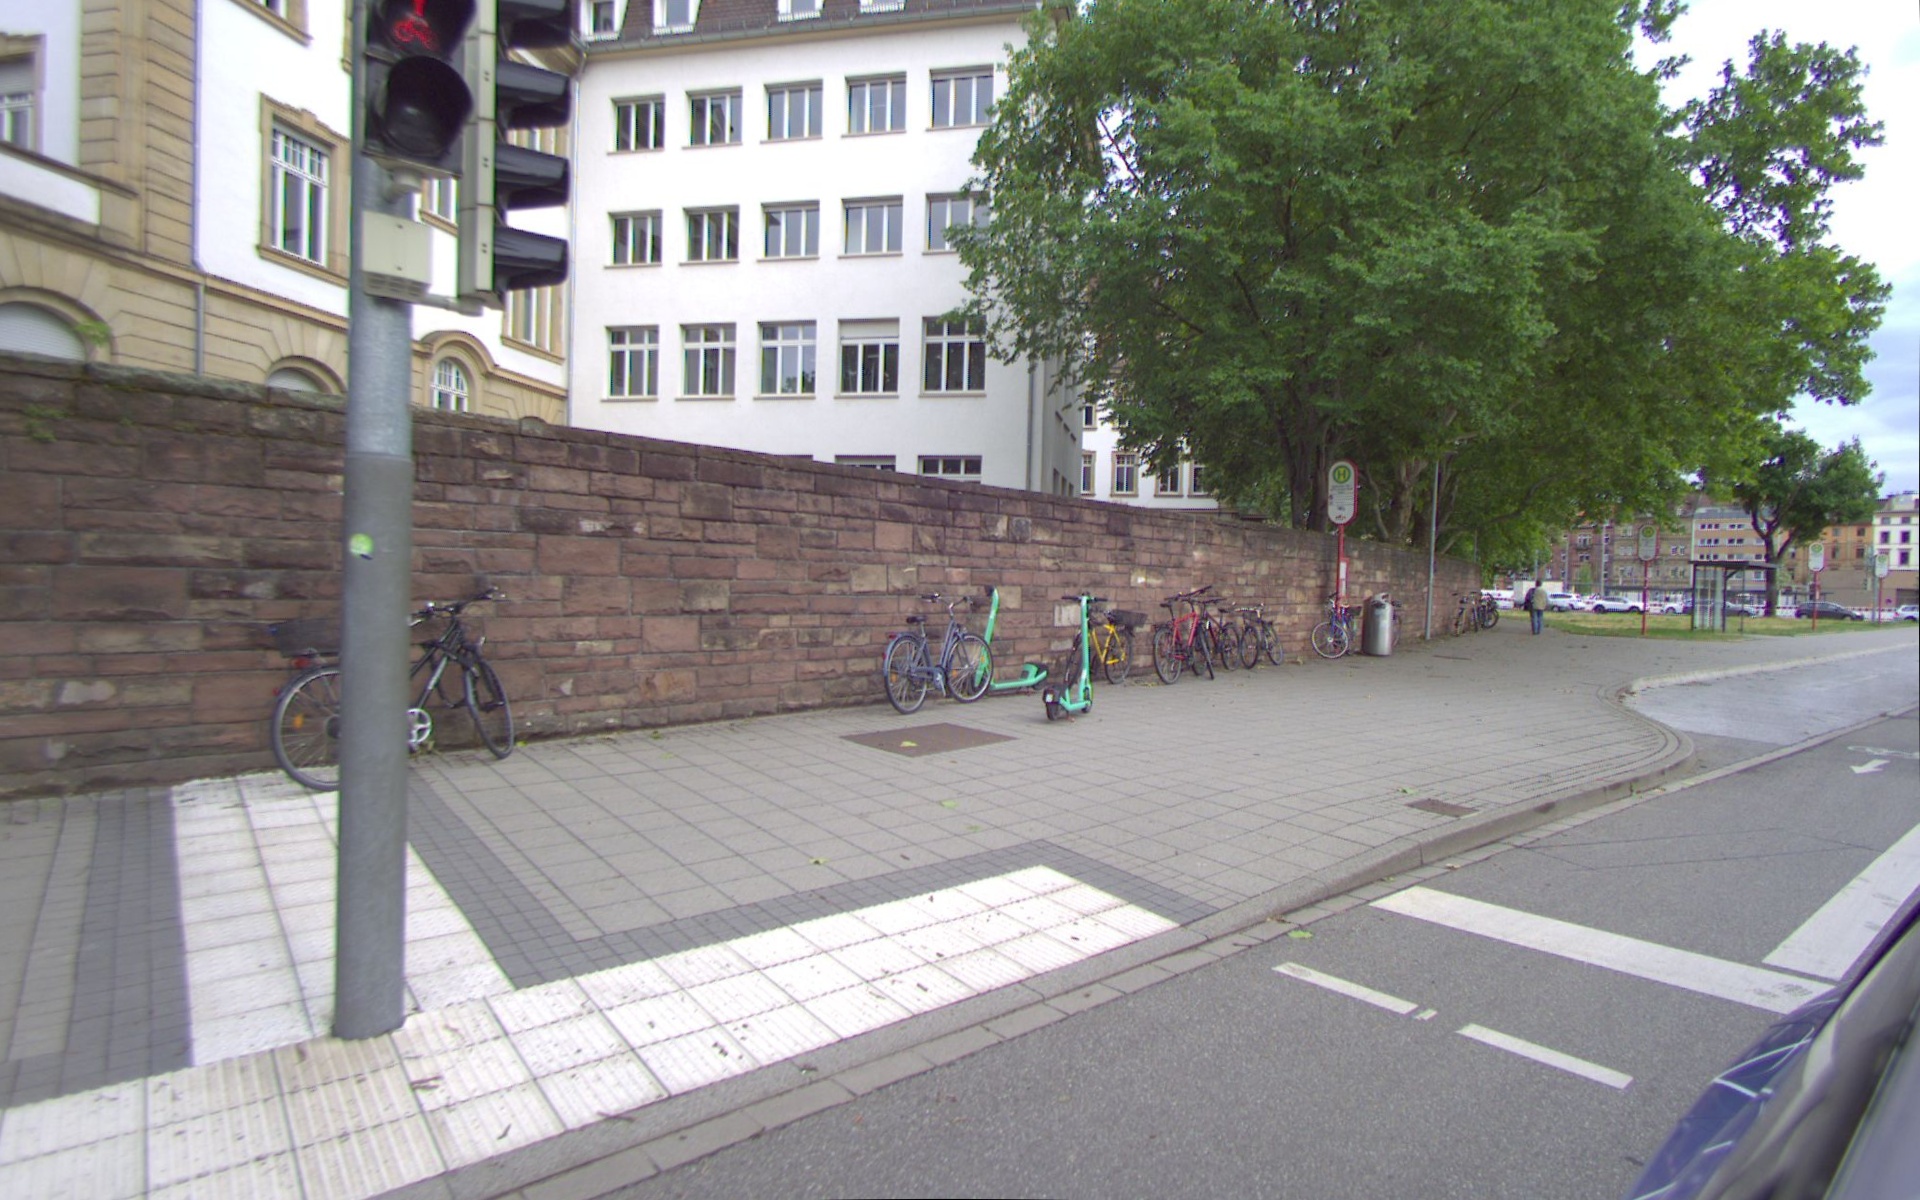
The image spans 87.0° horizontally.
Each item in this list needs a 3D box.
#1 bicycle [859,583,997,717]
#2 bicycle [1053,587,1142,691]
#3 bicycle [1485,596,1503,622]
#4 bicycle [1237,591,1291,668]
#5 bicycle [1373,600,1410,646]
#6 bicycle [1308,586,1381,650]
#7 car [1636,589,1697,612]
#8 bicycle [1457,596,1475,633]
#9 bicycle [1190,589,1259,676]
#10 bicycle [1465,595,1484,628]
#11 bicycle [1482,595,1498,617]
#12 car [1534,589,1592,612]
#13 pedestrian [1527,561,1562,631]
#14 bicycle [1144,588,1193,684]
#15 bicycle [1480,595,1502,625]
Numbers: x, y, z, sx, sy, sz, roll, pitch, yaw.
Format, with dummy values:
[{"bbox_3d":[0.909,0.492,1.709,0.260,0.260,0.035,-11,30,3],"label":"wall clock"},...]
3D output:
[{"bbox_3d":[-0.256,0.428,9.686,0.383,1.158,1.921,0,0,29],"label":"bicycle"},{"bbox_3d":[1.683,0.432,12.148,0.383,1.158,1.921,0,0,29],"label":"bicycle"},{"bbox_3d":[21.002,0.338,39.840,0.564,0.951,1.751,2,2,27],"label":"bicycle"},{"bbox_3d":[4.802,0.440,15.938,0.337,1.158,1.657,0,0,34],"label":"bicycle"},{"bbox_3d":[8.832,0.453,20.685,0.290,0.896,1.589,2,2,37],"label":"bicycle"},{"bbox_3d":[7.009,0.303,18.381,0.476,1.090,2.051,3,2,43],"label":"bicycle"},{"bbox_3d":[60.735,0.053,87.060,3.990,1.792,1.968,3,2,45],"label":"car"},{"bbox_3d":[13.560,0.370,27.101,0.361,0.951,1.625,2,2,27],"label":"bicycle"},{"bbox_3d":[3.790,0.438,14.397,0.337,1.158,1.918,0,0,34],"label":"bicycle"},{"bbox_3d":[15.698,0.331,30.887,0.477,0.951,1.881,2,2,27],"label":"bicycle"},{"bbox_3d":[23.379,0.262,44.629,0.555,0.951,1.341,2,1,27],"label":"bicycle"},{"bbox_3d":[55.274,0.034,92.831,1.967,2.039,4.275,0,0,-43],"label":"car"},{"bbox_3d":[17.802,-0.145,30.818,0.778,2.037,0.879,5,4,33],"label":"pedestrian"},{"bbox_3d":[2.736,0.436,13.184,0.381,1.158,1.929,0,0,19],"label":"bicycle"},{"bbox_3d":[18.430,0.338,35.143,0.648,0.951,1.938,2,2,27],"label":"bicycle"}]
